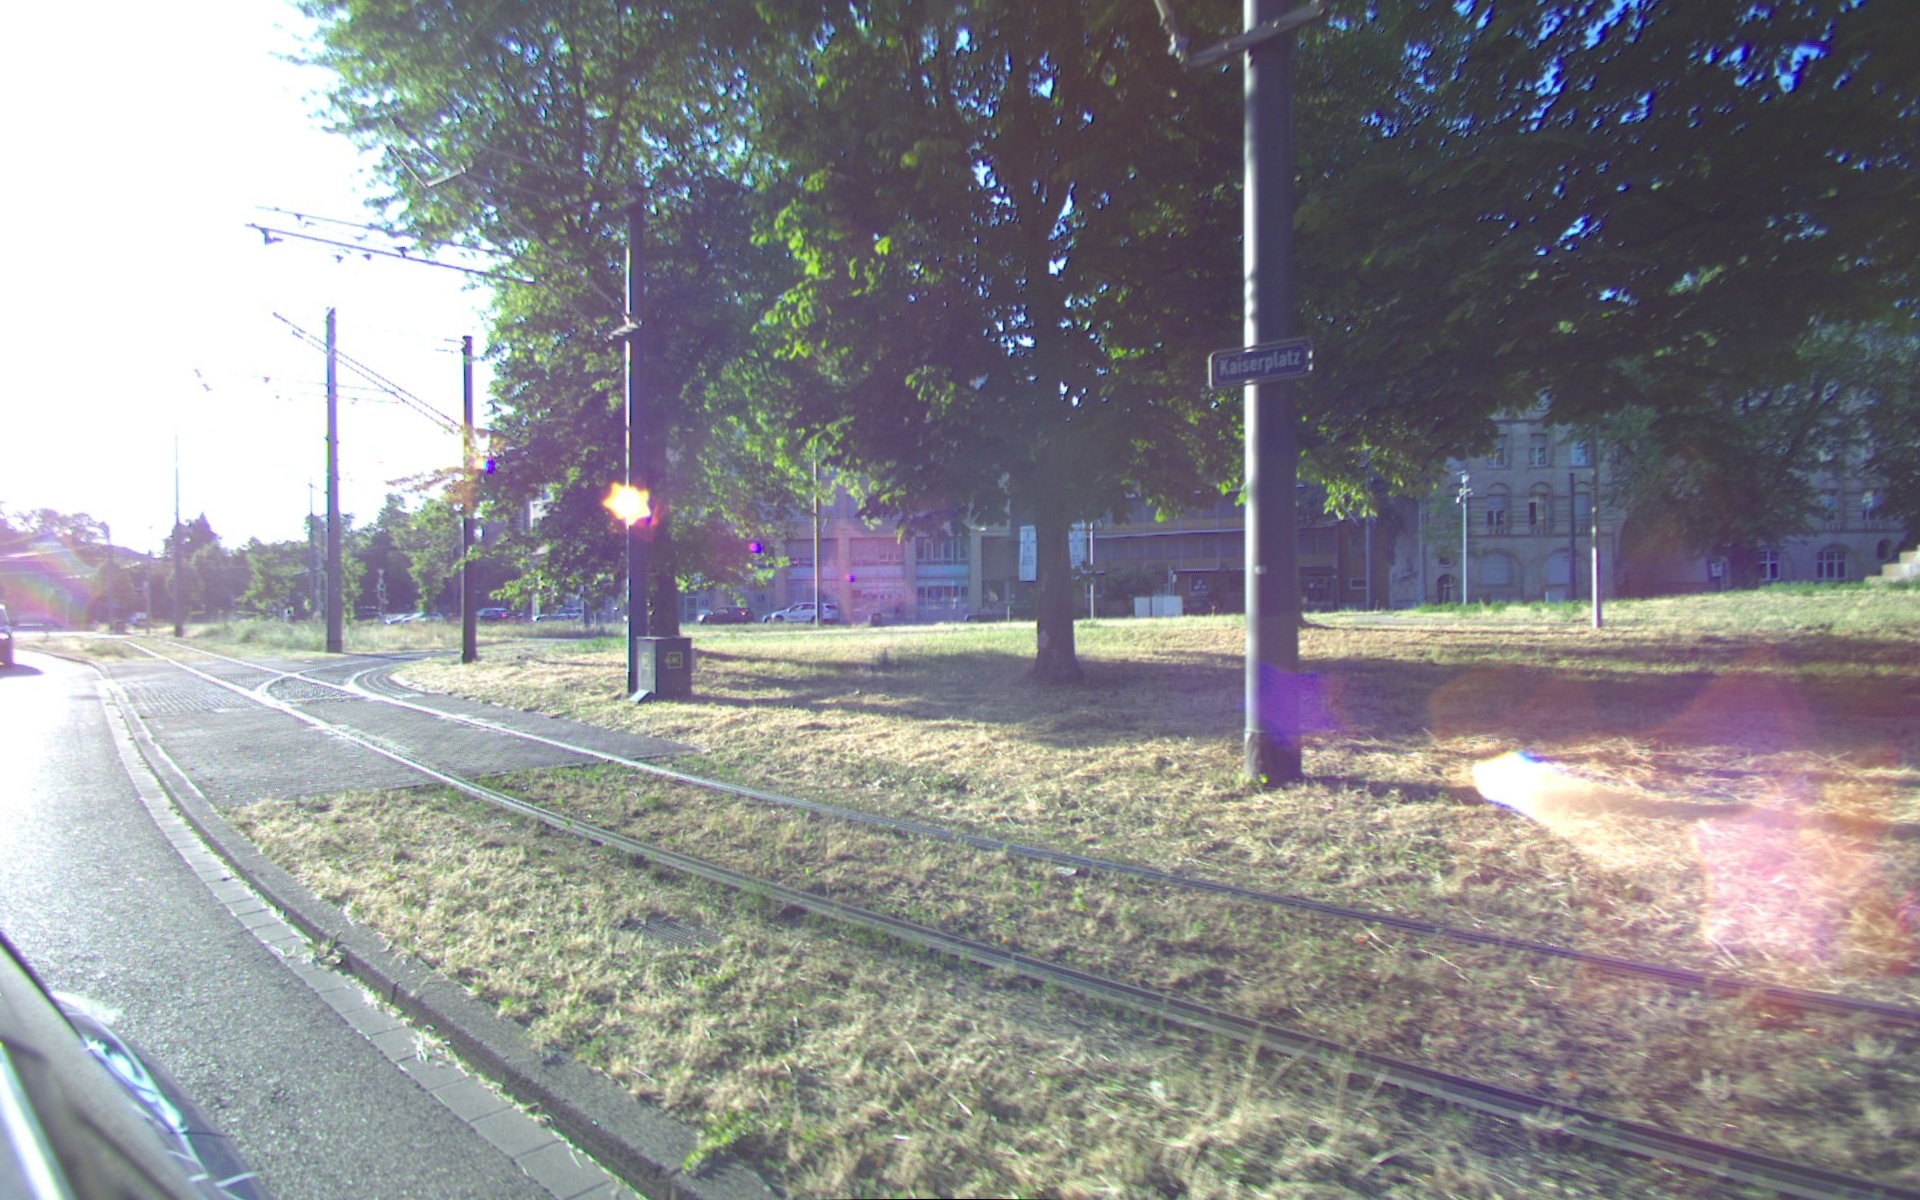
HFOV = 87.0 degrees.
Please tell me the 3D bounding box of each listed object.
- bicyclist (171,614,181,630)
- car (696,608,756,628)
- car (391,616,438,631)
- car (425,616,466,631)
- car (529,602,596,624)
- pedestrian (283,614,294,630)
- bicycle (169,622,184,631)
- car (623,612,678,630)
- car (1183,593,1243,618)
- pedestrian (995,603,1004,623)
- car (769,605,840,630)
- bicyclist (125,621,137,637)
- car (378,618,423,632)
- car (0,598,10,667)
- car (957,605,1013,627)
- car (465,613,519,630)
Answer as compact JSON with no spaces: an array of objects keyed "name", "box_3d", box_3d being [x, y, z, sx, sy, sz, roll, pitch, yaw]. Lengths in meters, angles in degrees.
[{"name":"bicyclist","box_3d":[-95.938,2.688,123.801,0.889,1.841,0.570,-1,1,24]},{"name":"car","box_3d":[-15.925,1.208,68.757,3.713,1.291,1.640,-1,-1,21]},{"name":"car","box_3d":[-56.500,2.414,104.879,1.893,1.431,3.963,-1,-1,27]},{"name":"car","box_3d":[-58.301,2.625,114.738,1.814,1.597,3.968,-1,-1,23]},{"name":"car","box_3d":[-29.291,0.979,74.551,4.755,1.491,1.879,-1,1,26]},{"name":"pedestrian","box_3d":[-69.831,2.290,105.264,0.714,1.685,0.731,-2,-1,27]},{"name":"bicycle","box_3d":[-95.836,3.230,123.761,1.918,1.034,0.521,-1,3,24]},{"name":"car","box_3d":[-21.911,1.471,71.585,3.575,1.162,1.513,-1,0,23]},{"name":"car","box_3d":[15.563,0.337,62.292,3.486,1.364,1.548,-2,0,14]},{"name":"pedestrian","box_3d":[2.865,0.970,73.284,0.482,1.441,0.411,-1,-1,24]},{"name":"car","box_3d":[-10.222,1.156,66.581,4.274,1.493,1.765,-1,-1,19]},{"name":"bicyclist","box_3d":[-85.558,2.997,104.493,0.811,1.595,0.520,-2,1,6]},{"name":"car","box_3d":[-60.794,2.708,110.060,1.891,1.431,3.968,-1,-1,24]},{"name":"car","box_3d":[-29.993,0.994,30.541,1.892,2.005,4.952,-1,0,-43]},{"name":"car","box_3d":[1.734,1.092,69.162,3.493,1.364,1.545,-2,0,19]},{"name":"car","box_3d":[-35.916,1.651,77.619,3.766,1.292,1.716,-1,0,24]}]
